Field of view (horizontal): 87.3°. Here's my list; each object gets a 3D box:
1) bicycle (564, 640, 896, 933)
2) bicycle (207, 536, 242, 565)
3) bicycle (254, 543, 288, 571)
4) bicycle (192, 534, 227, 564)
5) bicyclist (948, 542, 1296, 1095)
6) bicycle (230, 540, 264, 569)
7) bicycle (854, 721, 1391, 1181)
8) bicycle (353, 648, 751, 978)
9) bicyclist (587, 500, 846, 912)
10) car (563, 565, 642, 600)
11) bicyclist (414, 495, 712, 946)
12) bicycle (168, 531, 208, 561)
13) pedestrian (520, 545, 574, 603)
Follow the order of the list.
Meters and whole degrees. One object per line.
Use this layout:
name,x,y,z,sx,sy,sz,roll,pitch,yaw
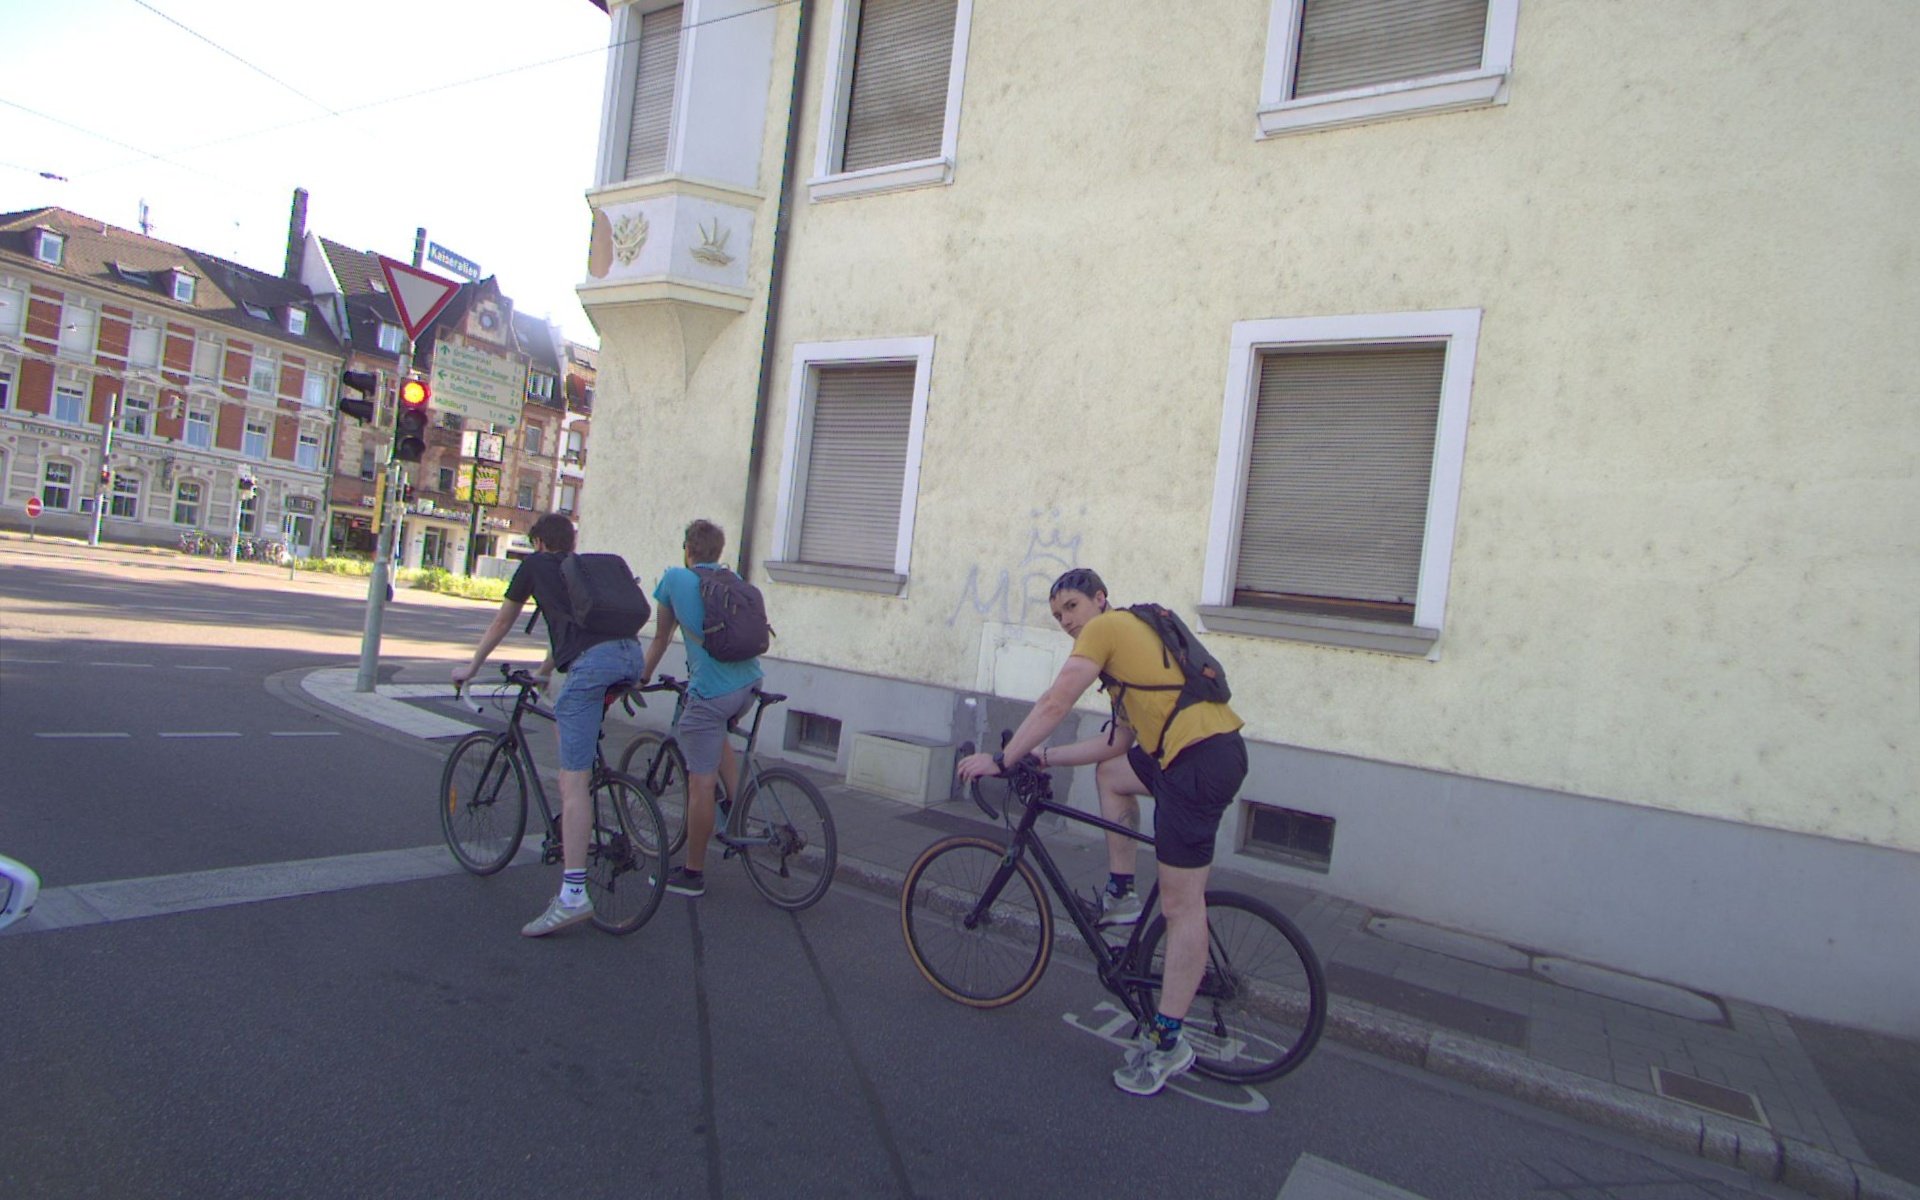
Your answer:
bicycle,-1.255,0.887,5.281,1.784,1.130,0.519,7,0,34
bicycle,-34.206,-2.305,46.760,2.140,1.157,0.618,7,0,37
bicycle,-33.108,-2.065,48.316,2.102,1.150,0.609,7,0,37
bicycle,-34.541,-2.353,46.283,2.140,1.157,0.618,7,0,37
bicyclist,0.604,0.719,3.755,0.939,1.742,0.582,7,0,32
bicycle,-33.673,-2.158,47.512,2.140,1.157,0.618,7,0,37
bicycle,0.551,1.148,3.766,1.780,1.101,0.611,7,0,32
bicycle,-1.915,0.855,4.591,1.897,1.023,0.645,7,0,34
bicyclist,-1.271,0.500,5.246,0.961,1.917,0.602,6,-1,34
car,-23.164,-1.120,65.321,2.116,1.660,4.340,7,-1,31
bicyclist,-1.804,0.473,4.545,1.083,1.775,0.562,7,0,34
bicycle,-35.056,-2.443,45.680,2.140,1.157,0.806,7,0,37
pedestrian,-16.562,-1.037,40.378,1.285,2.068,1.321,7,0,31
